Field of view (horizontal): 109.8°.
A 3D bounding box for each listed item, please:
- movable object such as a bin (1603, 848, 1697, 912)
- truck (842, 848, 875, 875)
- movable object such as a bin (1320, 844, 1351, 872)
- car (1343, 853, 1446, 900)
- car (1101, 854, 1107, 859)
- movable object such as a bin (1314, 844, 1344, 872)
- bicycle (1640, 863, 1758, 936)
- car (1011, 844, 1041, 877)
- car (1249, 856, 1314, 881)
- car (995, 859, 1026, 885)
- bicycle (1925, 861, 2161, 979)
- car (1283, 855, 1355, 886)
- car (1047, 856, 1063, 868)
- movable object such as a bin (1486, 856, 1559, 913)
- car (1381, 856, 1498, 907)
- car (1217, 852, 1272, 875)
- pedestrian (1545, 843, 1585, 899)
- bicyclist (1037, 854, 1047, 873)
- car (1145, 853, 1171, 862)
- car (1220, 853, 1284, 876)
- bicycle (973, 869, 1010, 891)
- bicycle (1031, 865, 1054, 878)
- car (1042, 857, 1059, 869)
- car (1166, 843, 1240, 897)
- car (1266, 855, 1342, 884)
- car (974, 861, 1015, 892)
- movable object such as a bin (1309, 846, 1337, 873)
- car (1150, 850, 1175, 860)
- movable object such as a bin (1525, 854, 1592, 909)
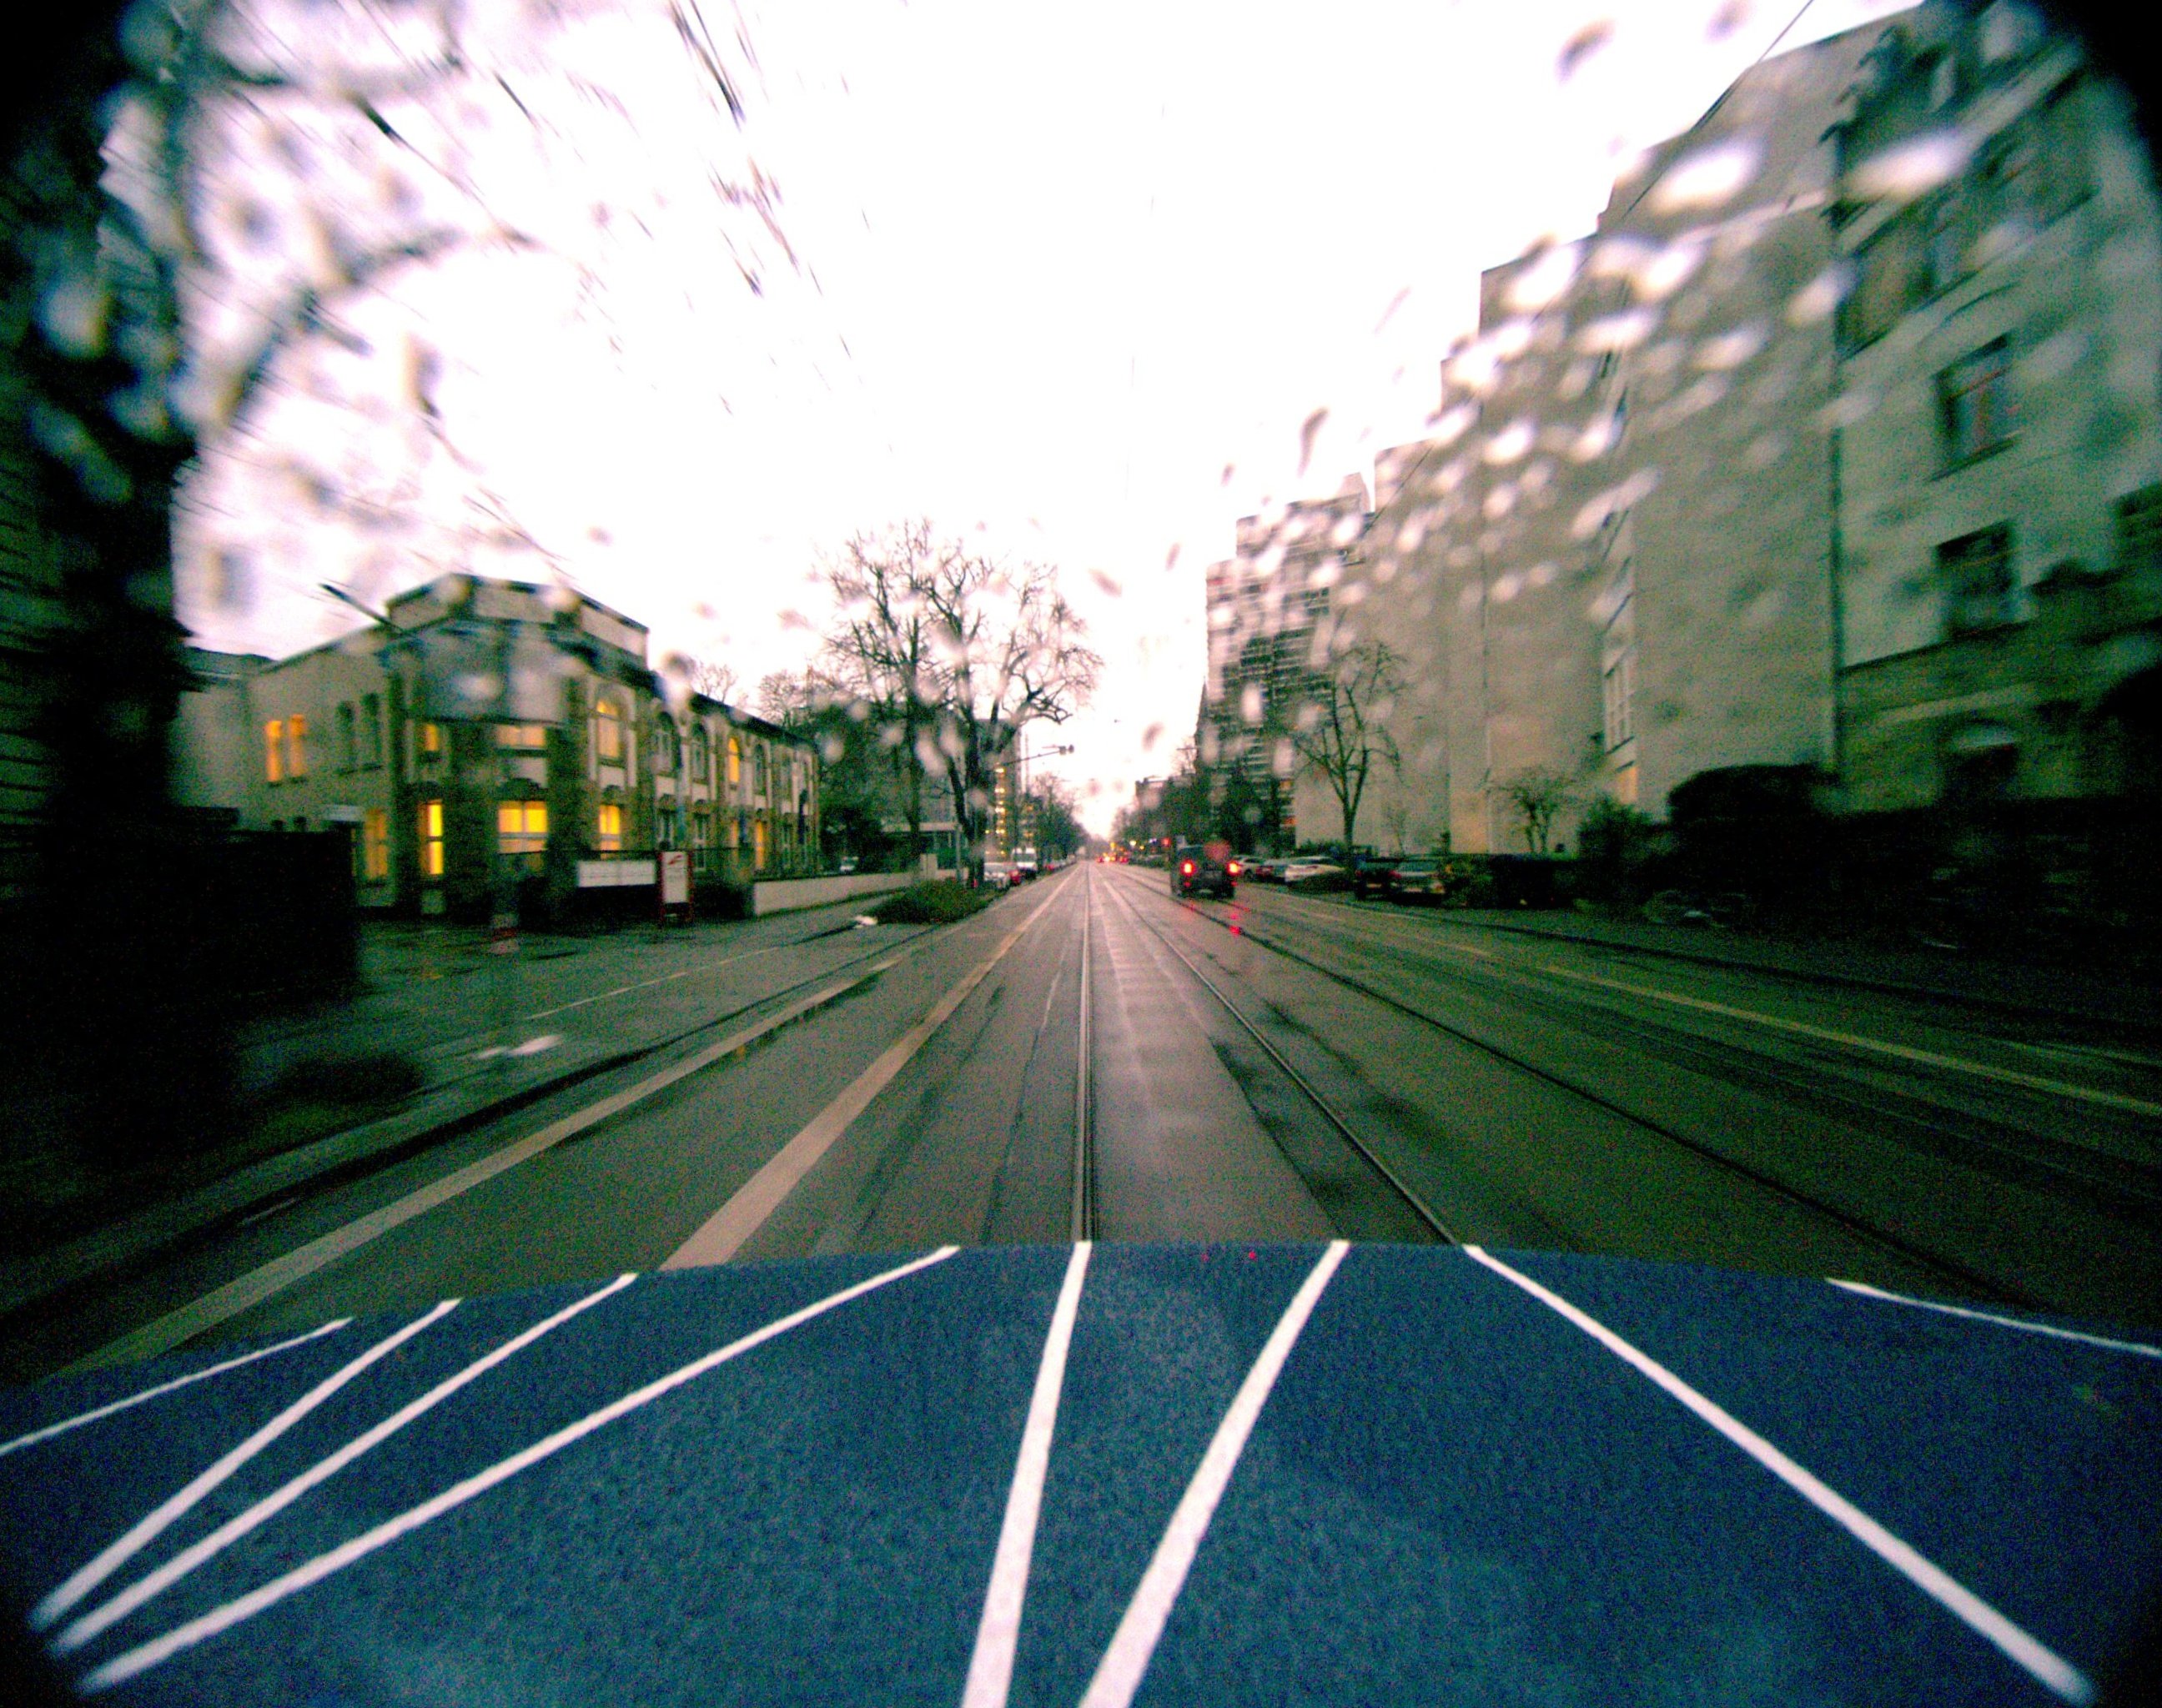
[{"bbox_3d":[13.214,0.590,17.713,1.265,1.442,1.326,-1,0,8],"label":"movable object such as a bin"},{"bbox_3d":[-23.164,0.737,79.376,2.132,2.573,7.075,-1,1,-6],"label":"truck"},{"bbox_3d":[16.888,0.295,50.485,1.573,1.849,1.318,-1,-1,2],"label":"movable object such as a bin"},{"bbox_3d":[10.862,0.733,26.214,4.008,1.462,1.826,-1,0,-44],"label":"car"},{"bbox_3d":[6.928,0.817,228.962,1.752,1.535,4.296,-1,-1,0],"label":"car"},{"bbox_3d":[16.919,0.284,51.910,1.573,1.849,1.394,-1,-1,2],"label":"movable object such as a bin"},{"bbox_3d":[10.846,0.764,13.407,0.694,1.205,1.596,-1,0,-4],"label":"bicycle"},{"bbox_3d":[-4.294,0.498,59.847,2.130,2.472,5.438,-1,-1,-2],"label":"car"},{"bbox_3d":[11.471,0.781,43.376,1.745,1.344,4.357,1,0,43],"label":"car"},{"bbox_3d":[-4.432,1.104,48.120,1.647,1.514,3.572,-2,-1,-2],"label":"car"},{"bbox_3d":[10.879,0.693,8.660,0.631,1.205,1.595,-1,0,-9],"label":"bicycle"},{"bbox_3d":[11.557,0.760,36.825,3.861,1.415,1.732,0,-1,-45],"label":"car"},{"bbox_3d":[-3.477,1.093,102.235,1.753,1.574,3.737,-1,-1,2],"label":"car"},{"bbox_3d":[11.636,0.783,20.067,1.268,1.442,1.110,-1,0,-21],"label":"movable object such as a bin"},{"bbox_3d":[11.041,0.781,23.289,4.008,1.419,1.843,0,-1,-42],"label":"car"},{"bbox_3d":[11.488,0.681,53.196,4.008,1.554,1.732,0,-1,-41],"label":"car"},{"bbox_3d":[14.818,0.513,23.288,0.598,1.667,0.973,-1,0,1],"label":"pedestrian"},{"bbox_3d":[-3.512,0.817,68.382,0.771,1.679,0.706,-1,0,-15],"label":"bicyclist"},{"bbox_3d":[12.248,0.574,120.469,3.995,1.477,1.673,-1,0,6],"label":"car"},{"bbox_3d":[11.182,0.671,49.693,4.007,1.435,1.732,0,1,-32],"label":"car"},{"bbox_3d":[-4.342,1.261,36.875,1.717,1.064,0.663,-1,0,1],"label":"bicycle"},{"bbox_3d":[-3.454,1.550,68.398,1.895,1.126,0.730,0,0,-15],"label":"bicycle"},{"bbox_3d":[-3.697,1.118,93.523,1.753,1.379,3.737,-1,-1,2],"label":"car"},{"bbox_3d":[4.710,0.610,30.084,2.051,1.911,5.099,-1,-1,-1],"label":"car"},{"bbox_3d":[11.933,0.796,40.543,4.007,1.455,1.732,0,1,-34],"label":"car"},{"bbox_3d":[-4.390,1.136,39.147,1.696,1.511,3.637,-1,0,0],"label":"car"},{"bbox_3d":[16.949,0.380,53.308,1.573,1.849,1.318,-1,-1,2],"label":"movable object such as a bin"},{"bbox_3d":[13.278,0.188,123.459,3.995,1.477,1.673,-1,0,6],"label":"car"},{"bbox_3d":[12.924,0.729,20.589,1.093,1.442,1.110,-1,0,-21],"label":"movable object such as a bin"}]
